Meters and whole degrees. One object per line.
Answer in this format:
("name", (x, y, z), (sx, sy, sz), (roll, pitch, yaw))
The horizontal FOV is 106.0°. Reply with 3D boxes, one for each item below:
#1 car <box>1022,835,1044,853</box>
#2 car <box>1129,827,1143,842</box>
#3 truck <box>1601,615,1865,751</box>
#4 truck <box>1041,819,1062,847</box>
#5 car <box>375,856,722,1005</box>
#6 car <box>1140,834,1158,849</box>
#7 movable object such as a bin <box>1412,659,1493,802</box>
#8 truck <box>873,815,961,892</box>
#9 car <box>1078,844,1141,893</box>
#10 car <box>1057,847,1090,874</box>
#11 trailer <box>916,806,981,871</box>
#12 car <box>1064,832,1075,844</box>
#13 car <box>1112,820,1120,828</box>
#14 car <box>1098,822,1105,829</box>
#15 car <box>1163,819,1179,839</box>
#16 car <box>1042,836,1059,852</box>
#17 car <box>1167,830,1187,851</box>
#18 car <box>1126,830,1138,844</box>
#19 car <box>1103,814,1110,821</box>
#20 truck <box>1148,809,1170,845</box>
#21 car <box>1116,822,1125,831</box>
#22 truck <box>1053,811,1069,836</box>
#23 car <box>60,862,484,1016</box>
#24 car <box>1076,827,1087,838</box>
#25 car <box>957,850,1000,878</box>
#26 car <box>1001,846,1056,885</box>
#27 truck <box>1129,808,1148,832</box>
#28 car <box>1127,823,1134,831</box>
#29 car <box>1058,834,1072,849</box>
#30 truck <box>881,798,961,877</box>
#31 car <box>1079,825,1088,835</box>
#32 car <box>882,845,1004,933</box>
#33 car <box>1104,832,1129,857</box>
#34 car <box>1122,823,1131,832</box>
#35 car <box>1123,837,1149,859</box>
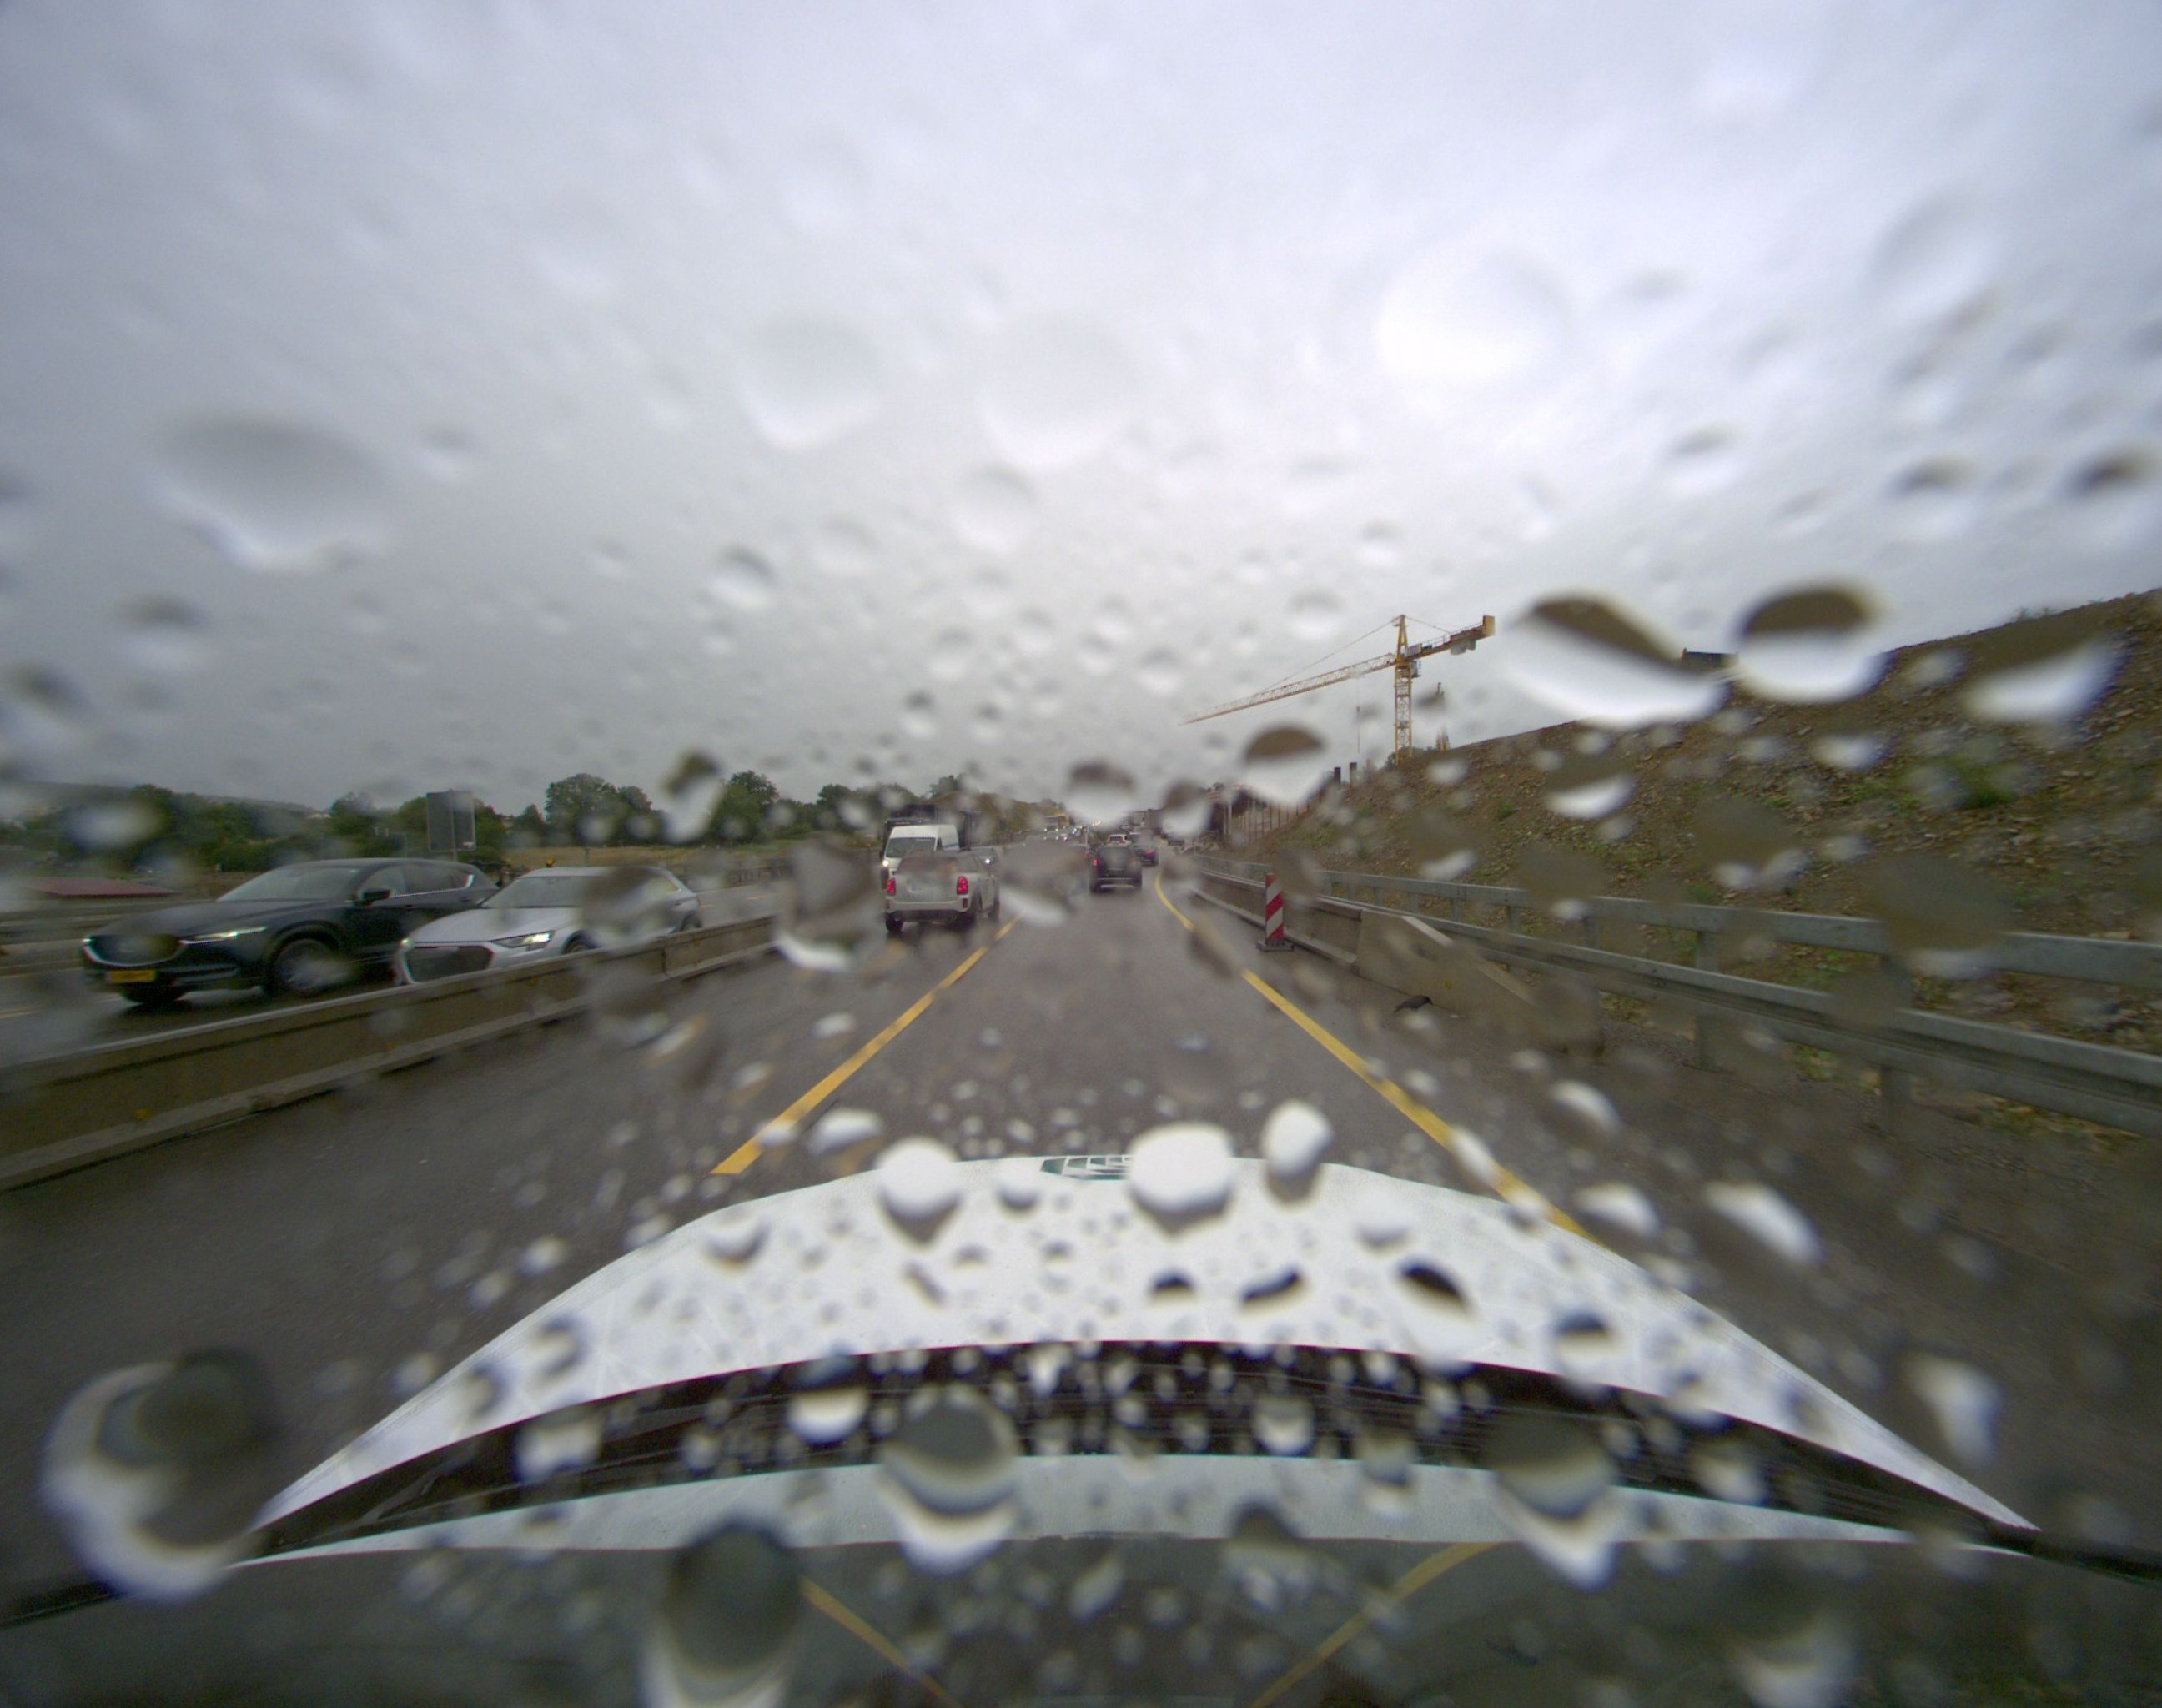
("car", (-4.686, -1.018, 80.284), (1.731, 1.684, 5.554), (0, 1, 1))
("car", (9.026, -3.149, 132.883), (1.983, 2.163, 4.147), (-1, -2, 6))
("truck", (19.764, -5.043, 25.410), (2.636, 2.555, 6.984), (-1, -2, 1))
("truck", (-5.256, -3.753, 147.613), (3.071, 4.919, 8.568), (-1, 0, 2))
("car", (-6.602, 0.818, 10.810), (1.671, 1.524, 4.345), (-1, 0, 1))
("car", (8.780, -1.552, 105.447), (1.986, 1.761, 3.815), (-1, -2, 1))
("movable object such as a bin", (32.883, -10.567, 72.734), (4.683, 10.843, 10.345), (-2, -2, 15))
("truck", (-6.257, -0.029, 31.842), (2.140, 2.713, 6.016), (-1, 0, 0))
("car", (1.031, 0.548, 29.460), (2.073, 1.600, 4.142), (-1, -2, 2))
("car", (-0.445, 0.426, 52.022), (1.987, 1.600, 4.139), (-1, -2, 0))
("trailer", (-8.816, -1.037, 55.497), (2.737, 3.970, 9.674), (-1, 1, 0))
("car", (-1.933, -2.601, 134.867), (1.616, 1.810, 3.638), (-1, -2, 2))
("car", (9.802, -8.278, 228.232), (1.986, 2.013, 4.001), (-2, 0, 1))
("car", (6.021, -8.424, 240.562), (1.987, 2.014, 4.000), (-1, -2, 1))
("car", (12.682, -3.512, 114.737), (1.985, 2.484, 4.985), (-1, -2, 3))
("car", (-3.682, -1.230, 100.248), (1.779, 1.810, 4.500), (-1, -2, 1))
("car", (10.691, -1.448, 90.959), (1.985, 2.163, 4.143), (-1, -2, 3))
("car", (8.959, -2.965, 144.281), (1.986, 2.163, 4.141), (-1, -2, 1))
("car", (8.015, -11.324, 254.622), (1.987, 2.014, 4.000), (-1, -2, 1))
("truck", (13.237, -4.497, 137.347), (3.083, 5.426, 9.465), (-1, -2, 9))
("car", (9.699, -6.732, 201.424), (1.986, 2.013, 4.001), (-2, 0, 1))
("truck", (-4.400, -6.766, 182.610), (3.129, 5.417, 8.528), (-1, 0, 2))
("car", (-9.818, 0.897, 10.413), (1.723, 1.524, 3.869), (-1, 0, -5))
("car", (0.110, -5.094, 194.235), (2.230, 2.358, 4.879), (-1, 0, 2))
("car", (-5.813, 0.527, 46.801), (1.863, 1.471, 4.670), (-1, 0, 0))
("car", (-2.261, 0.527, 35.991), (1.986, 1.600, 4.142), (-1, -2, 2))
("truck", (13.732, -8.138, 196.819), (3.791, 5.043, 12.920), (-1, -2, 1))
("car", (14.447, -7.792, 237.249), (1.987, 2.014, 3.999), (-1, -2, 0))
("car", (-2.243, -1.732, 113.898), (1.779, 1.810, 4.500), (-1, -2, 1))
("truck", (-8.821, -0.896, 46.049), (2.633, 3.970, 9.213), (-1, 1, 0))
("car", (0.571, -6.118, 209.228), (2.208, 2.370, 4.666), (-1, 0, 2))
("car", (-2.769, 0.684, 17.303), (1.810, 1.600, 4.307), (-1, -1, 0))
("car", (3.096, -0.765, 71.478), (1.987, 2.014, 3.893), (-1, -2, 0))
("car", (10.236, -6.005, 183.649), (1.842, 1.894, 4.023), (-1, -2, 2))
("car", (5.788, -0.633, 85.187), (1.979, 2.163, 4.155), (-1, -2, 14))
